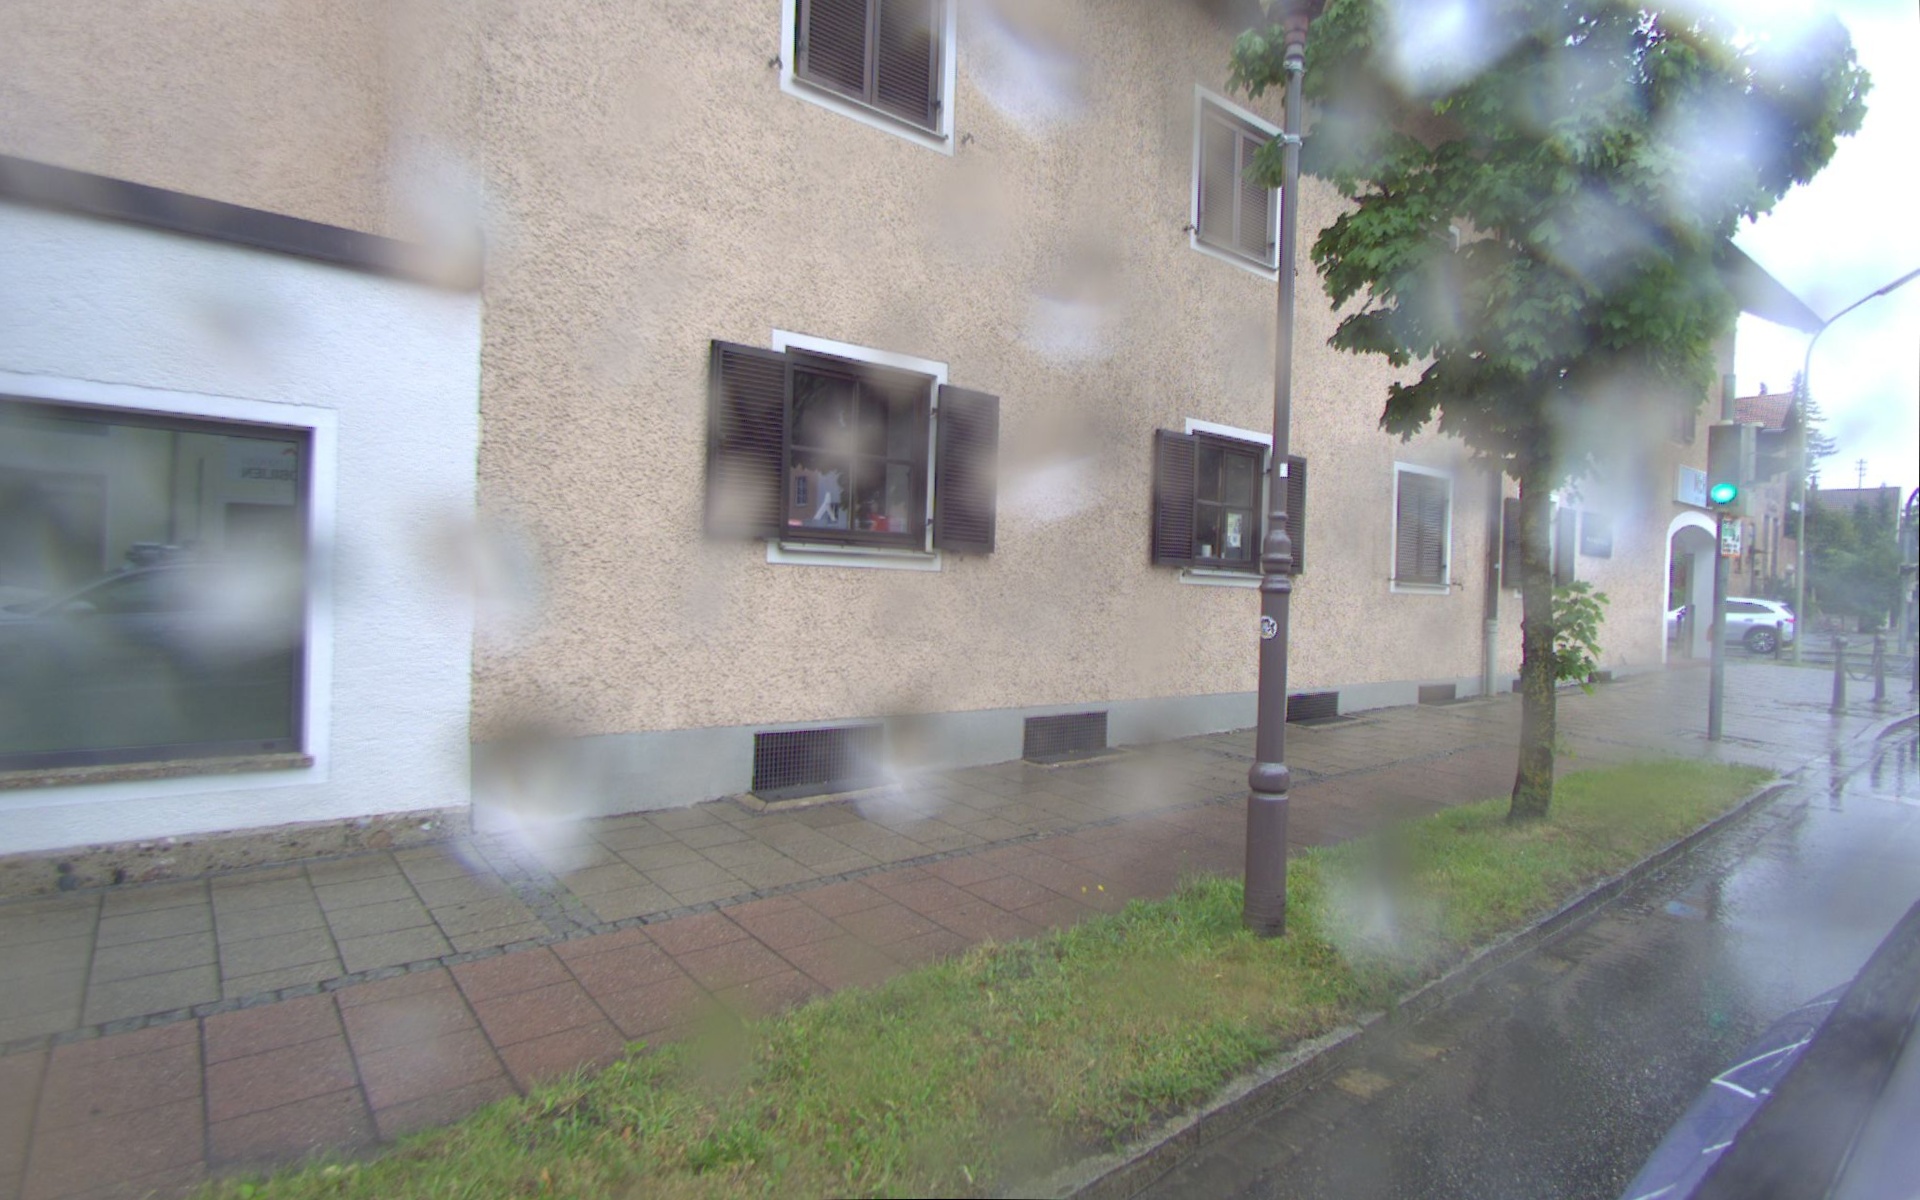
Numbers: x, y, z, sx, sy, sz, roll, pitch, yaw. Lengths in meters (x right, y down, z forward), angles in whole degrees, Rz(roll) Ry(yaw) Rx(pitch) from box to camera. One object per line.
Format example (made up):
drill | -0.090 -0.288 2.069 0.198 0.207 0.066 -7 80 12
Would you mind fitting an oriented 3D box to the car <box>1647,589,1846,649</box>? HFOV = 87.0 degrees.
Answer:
car | 23.592 0.512 30.568 4.585 1.517 1.713 3 2 37
